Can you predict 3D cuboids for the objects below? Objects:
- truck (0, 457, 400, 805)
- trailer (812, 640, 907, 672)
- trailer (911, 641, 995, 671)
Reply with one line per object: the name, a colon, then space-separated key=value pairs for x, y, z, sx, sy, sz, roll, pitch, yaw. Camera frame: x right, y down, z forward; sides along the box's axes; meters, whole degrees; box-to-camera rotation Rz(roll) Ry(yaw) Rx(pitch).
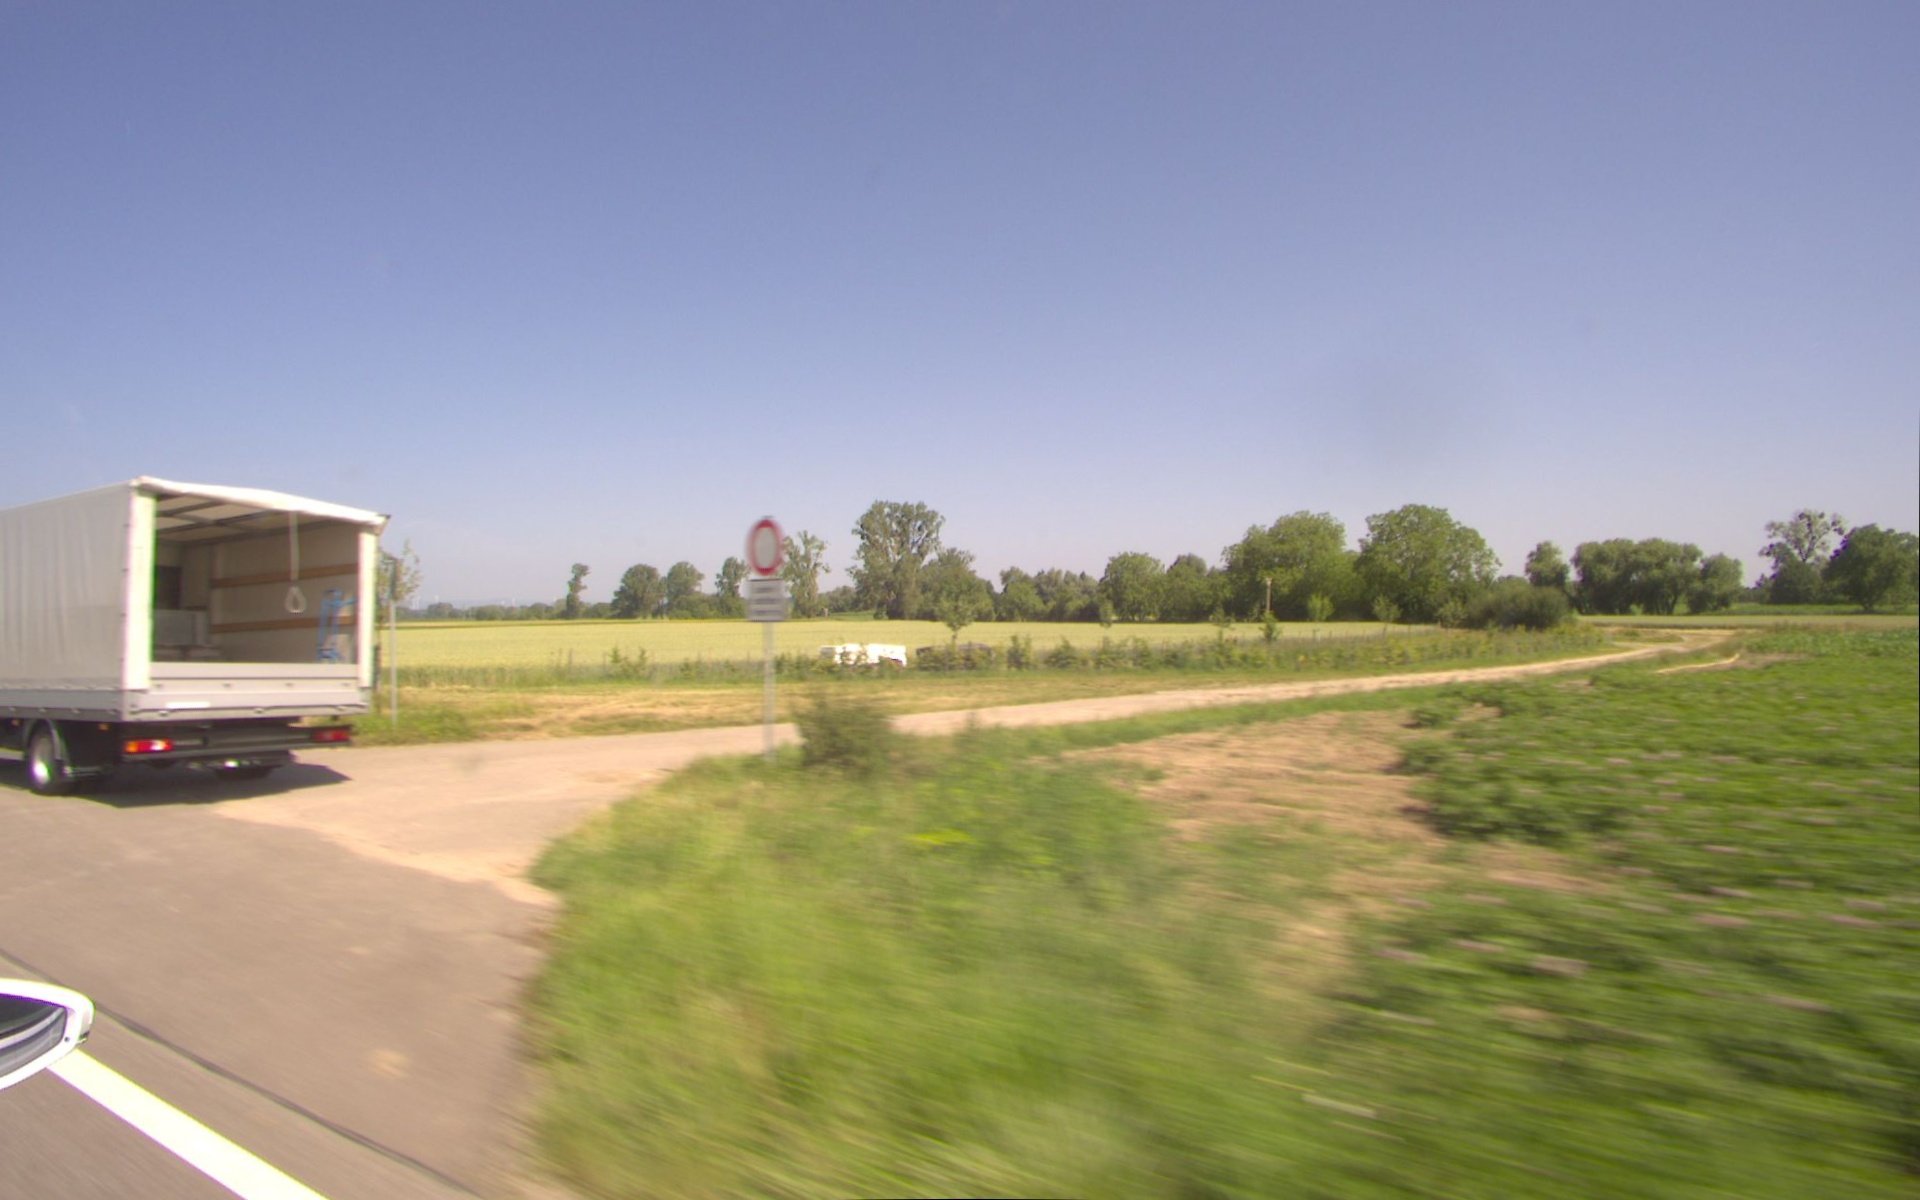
truck: x=-9.533 y=0.388 z=11.345 sx=6.905 sy=2.978 sz=2.334 roll=-1 pitch=-4 yaw=31
trailer: x=-3.969 y=2.227 z=39.804 sx=1.646 sy=1.204 sz=3.566 roll=-2 pitch=-3 yaw=44
trailer: x=-0.260 y=2.380 z=43.157 sx=1.646 sy=1.204 sz=3.518 roll=-2 pitch=-3 yaw=44
